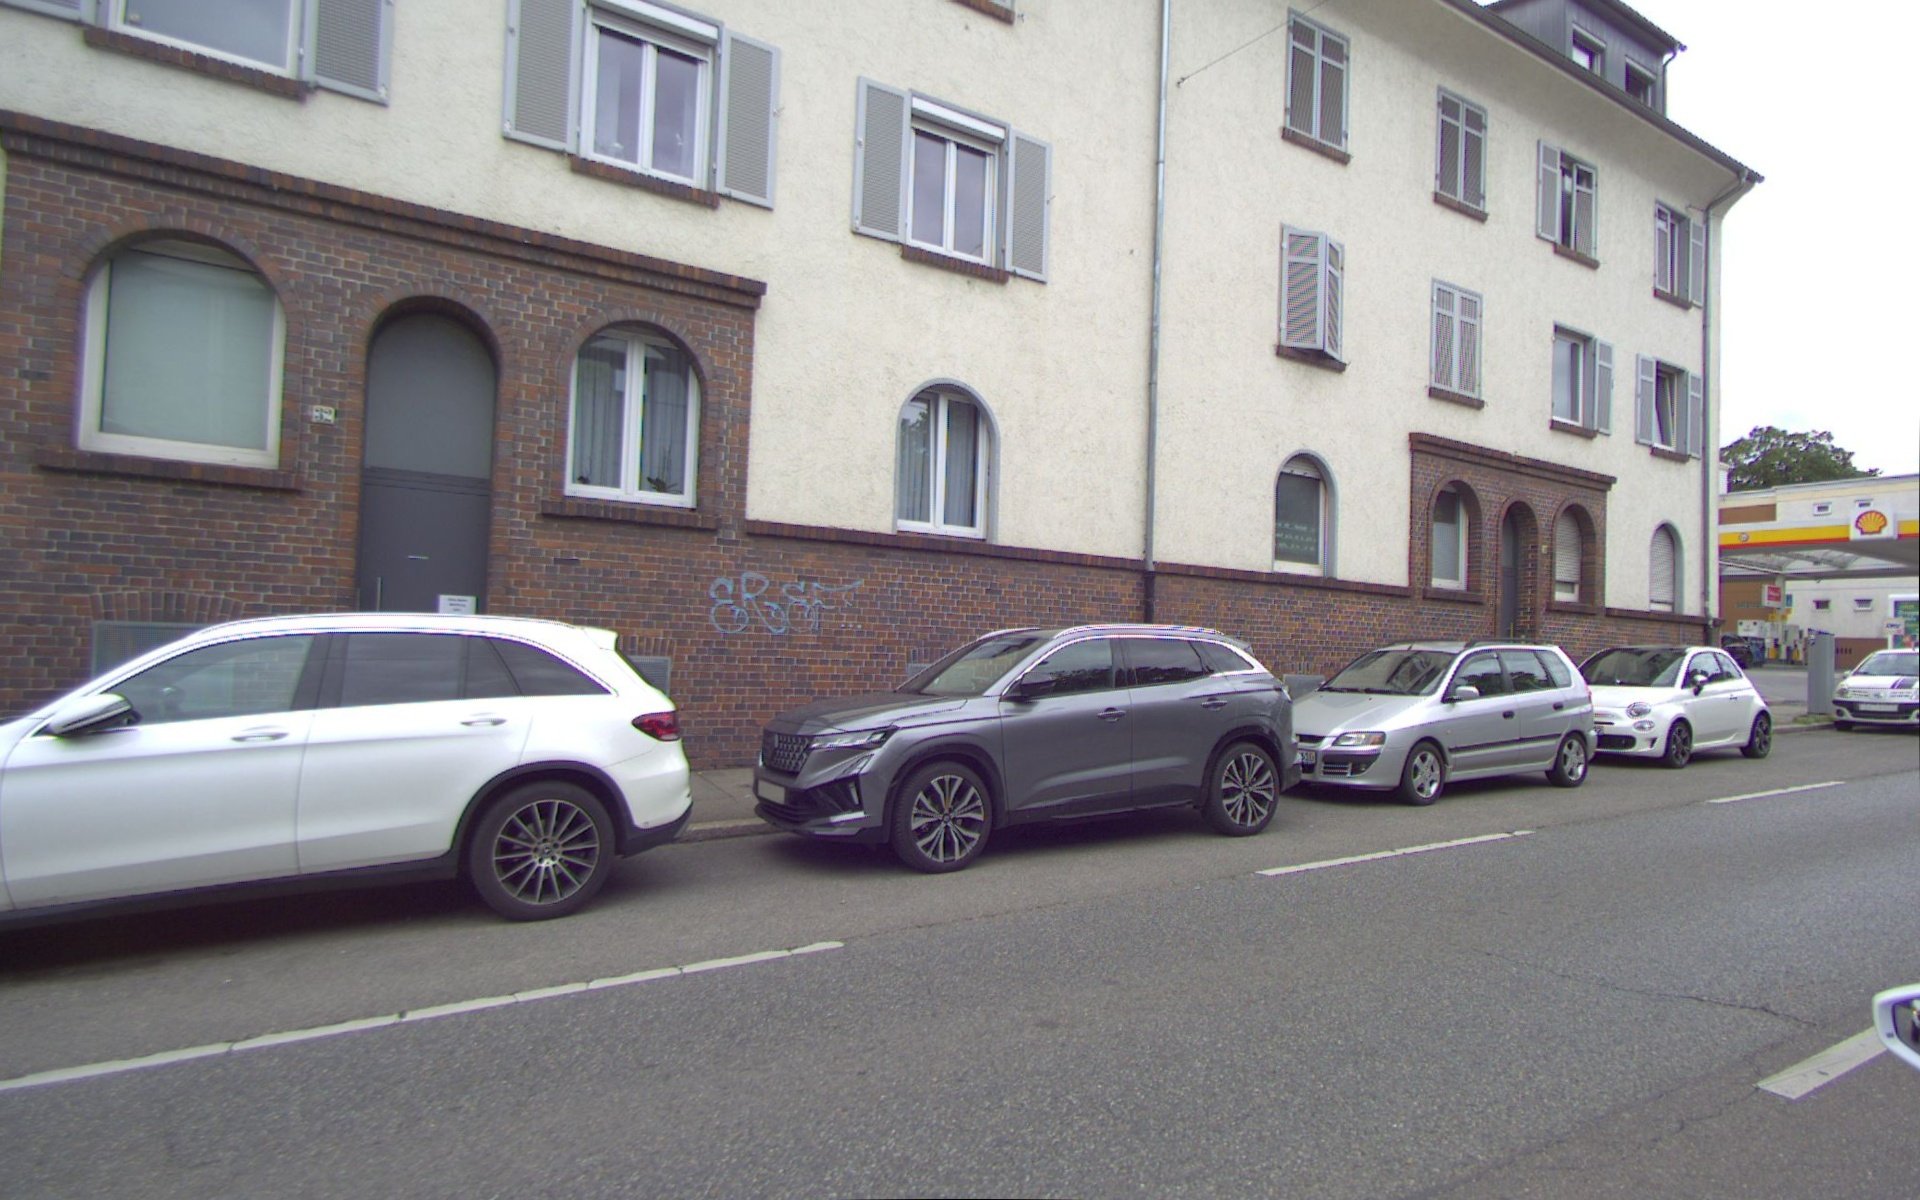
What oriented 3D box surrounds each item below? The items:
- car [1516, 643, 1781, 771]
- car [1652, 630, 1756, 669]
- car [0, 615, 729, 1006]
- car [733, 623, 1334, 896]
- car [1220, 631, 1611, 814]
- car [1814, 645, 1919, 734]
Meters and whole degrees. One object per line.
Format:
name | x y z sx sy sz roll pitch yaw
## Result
car | 9.164 1.318 13.325 3.562 1.494 1.540 1 -3 -31
car | 29.795 1.960 40.193 4.365 1.439 1.789 1 -1 -31
car | -3.775 0.932 5.474 4.591 1.642 1.836 1 -2 -31
car | 0.659 1.015 7.802 4.445 1.620 1.720 1 -2 -28
car | 4.828 1.173 10.537 4.035 1.578 1.719 2 -5 -31
car | 17.111 1.545 18.003 3.621 1.444 1.612 1 -2 -30
